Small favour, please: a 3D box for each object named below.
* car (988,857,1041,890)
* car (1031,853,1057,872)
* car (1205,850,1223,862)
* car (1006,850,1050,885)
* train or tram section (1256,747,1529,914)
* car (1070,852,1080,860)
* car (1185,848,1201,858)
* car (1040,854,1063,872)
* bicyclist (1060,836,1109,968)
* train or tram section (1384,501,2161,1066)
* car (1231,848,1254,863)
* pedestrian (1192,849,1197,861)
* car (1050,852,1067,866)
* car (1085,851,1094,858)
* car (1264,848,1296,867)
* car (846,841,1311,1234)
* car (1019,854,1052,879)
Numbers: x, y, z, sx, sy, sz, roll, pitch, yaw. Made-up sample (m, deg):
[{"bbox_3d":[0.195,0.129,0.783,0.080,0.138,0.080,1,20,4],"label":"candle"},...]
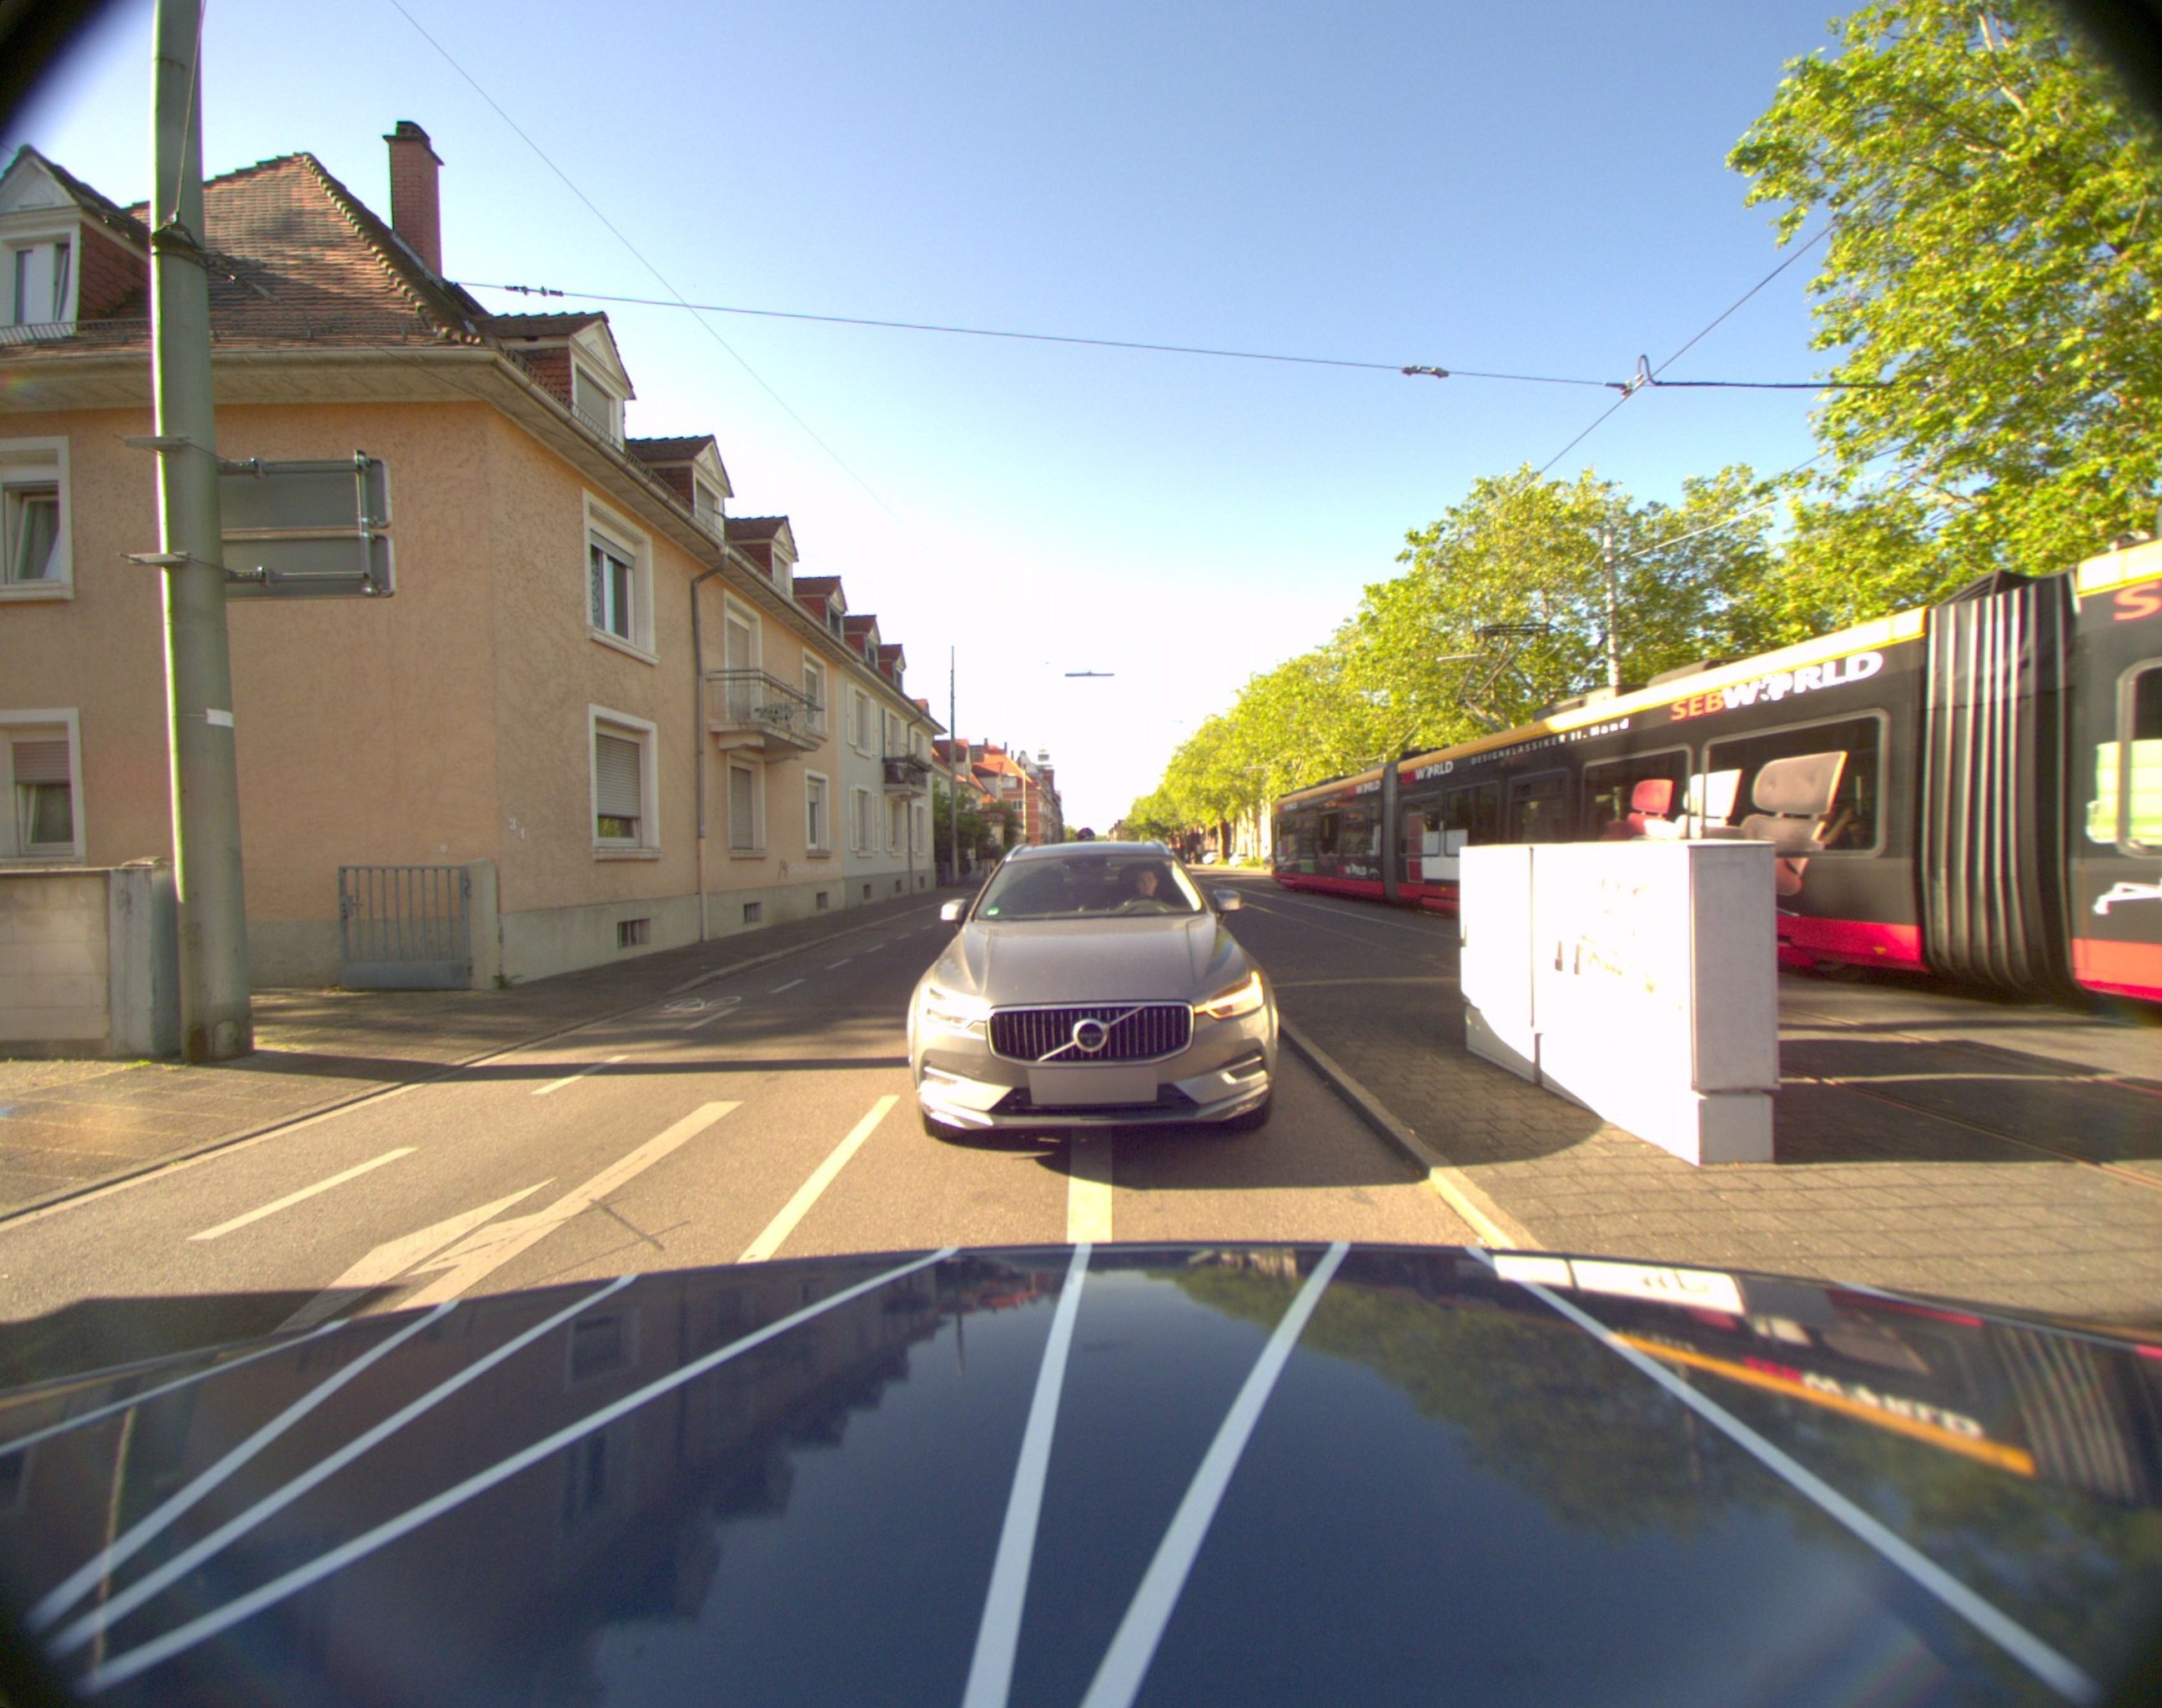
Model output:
[{"bbox_3d":[-3.194,0.916,37.163,1.881,1.477,4.001,-1,0,5],"label":"car"},{"bbox_3d":[-2.935,0.644,61.148,1.882,1.477,3.999,-1,0,-1],"label":"car"},{"bbox_3d":[17.638,0.256,100.857,1.882,1.542,4.000,-1,0,2],"label":"car"},{"bbox_3d":[-2.899,0.721,42.964,1.932,1.834,5.313,-1,0,2],"label":"car"},{"bbox_3d":[8.320,-0.548,23.085,3.063,3.592,12.888,-1,0,1],"label":"train or tram section"},{"bbox_3d":[-1.102,0.300,148.415,1.882,1.477,3.999,-1,0,-1],"label":"car"},{"bbox_3d":[18.524,-0.179,125.781,1.882,1.542,3.999,-1,0,-2],"label":"car"},{"bbox_3d":[-2.605,0.764,67.189,1.882,1.477,3.999,-1,0,-1],"label":"car"},{"bbox_3d":[0.053,0.628,10.209,0.600,1.709,0.662,-1,1,1],"label":"bicyclist"},{"bbox_3d":[8.204,-0.495,10.810,3.063,3.592,11.949,-1,0,0],"label":"train or tram section"},{"bbox_3d":[17.709,0.188,83.552,1.882,1.542,4.000,-1,0,2],"label":"car"},{"bbox_3d":[15.622,0.157,104.600,0.578,1.632,0.677,-1,1,3],"label":"pedestrian"},{"bbox_3d":[-2.504,0.543,85.695,1.882,1.477,3.999,-1,0,-1],"label":"car"},{"bbox_3d":[1.769,0.043,164.434,1.882,1.477,3.999,-1,0,-1],"label":"car"},{"bbox_3d":[17.232,0.305,65.973,1.882,1.567,4.000,-1,0,2],"label":"car"},{"bbox_3d":[0.021,0.764,5.437,1.917,1.621,4.502,-1,0,1],"label":"car"},{"bbox_3d":[-2.861,0.779,48.509,1.882,1.477,3.999,-1,0,-1],"label":"car"}]
